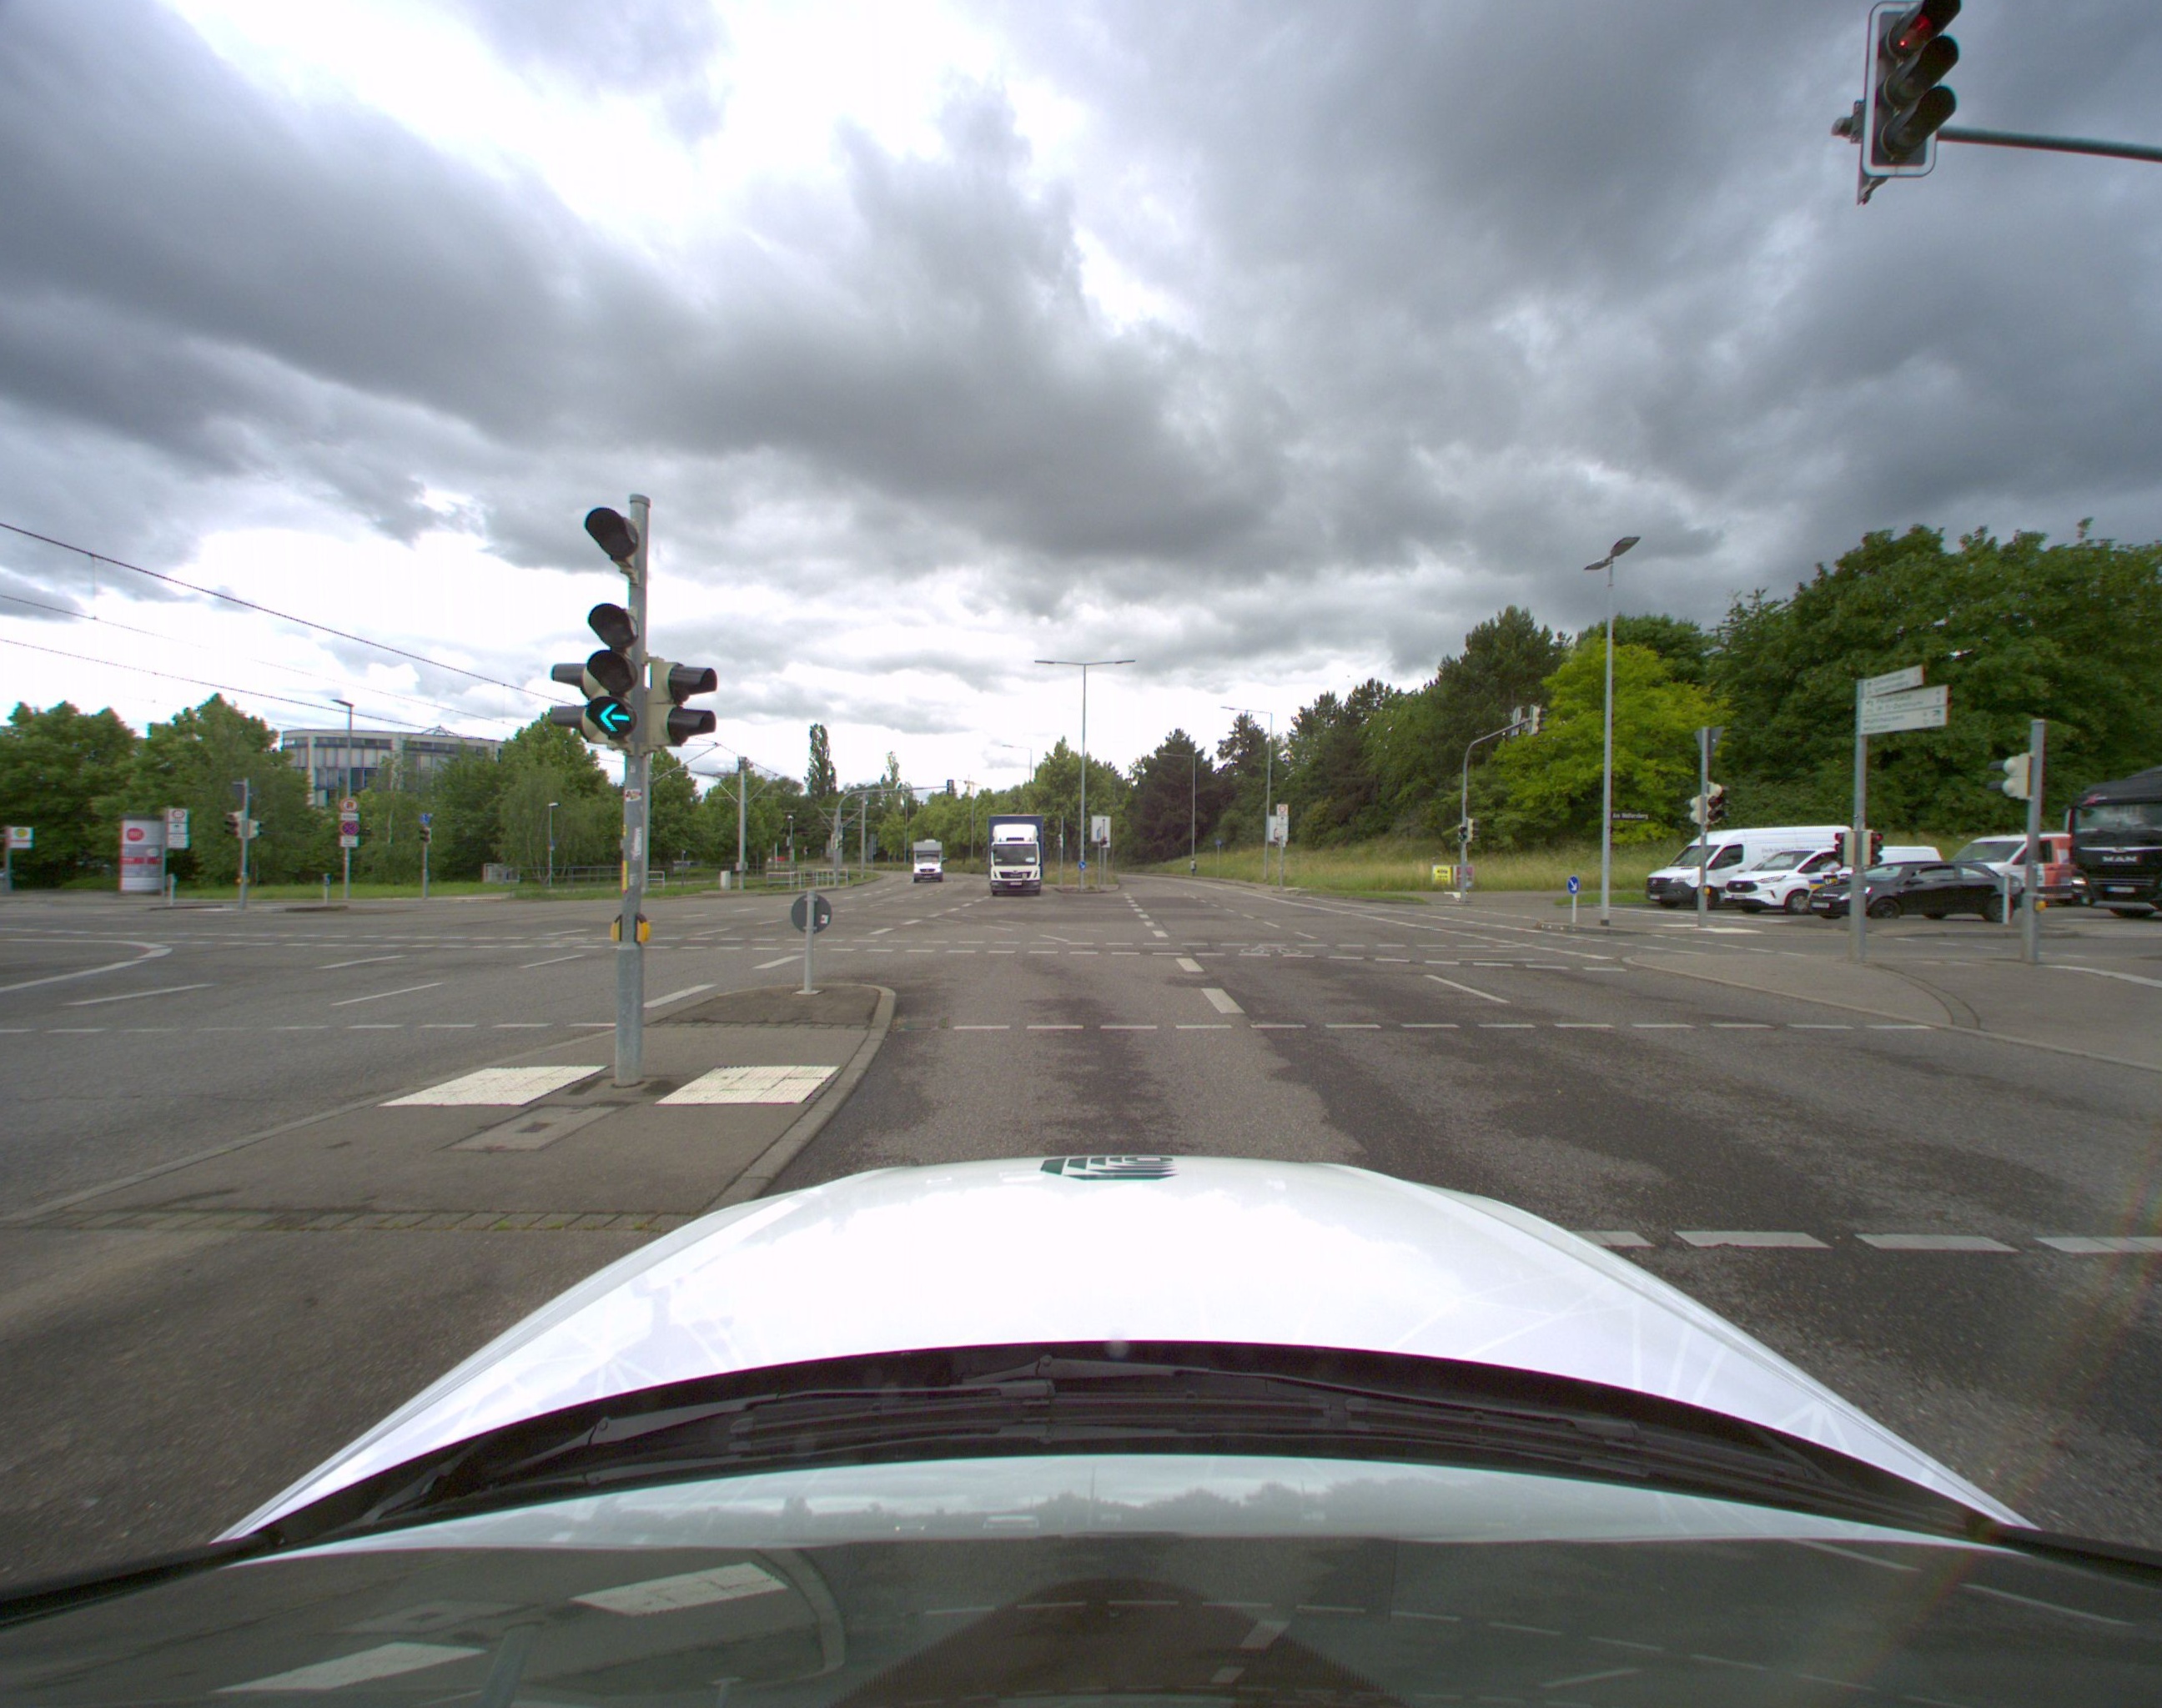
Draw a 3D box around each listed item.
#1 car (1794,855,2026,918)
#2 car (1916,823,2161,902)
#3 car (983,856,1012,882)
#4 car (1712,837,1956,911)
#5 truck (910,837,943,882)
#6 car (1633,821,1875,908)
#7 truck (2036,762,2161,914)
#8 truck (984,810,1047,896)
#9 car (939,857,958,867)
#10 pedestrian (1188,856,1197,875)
[{"bbox_3d":[20.113,0.776,19.889,3.836,1.442,1.638,-1,-1,4],"label":"car"},{"bbox_3d":[30.906,0.294,25.980,5.913,2.386,2.231,-1,-1,4],"label":"car"},{"bbox_3d":[-6.899,1.200,67.197,1.994,2.014,4.591,0,0,-11],"label":"car"},{"bbox_3d":[21.556,0.589,23.497,4.952,1.991,2.121,0,-2,2],"label":"car"},{"bbox_3d":[-11.270,0.400,59.871,2.105,3.010,6.252,-4,0,-10],"label":"truck"},{"bbox_3d":[21.875,0.359,26.712,5.915,2.659,2.230,-1,-2,3],"label":"car"},{"bbox_3d":[27.943,-0.376,19.651,5.915,3.518,3.077,-1,-2,3],"label":"truck"},{"bbox_3d":[-3.279,-0.014,40.373,2.774,3.804,8.373,0,0,-5],"label":"truck"},{"bbox_3d":[-22.918,1.384,140.672,2.006,1.728,3.691,0,0,-31],"label":"car"},{"bbox_3d":[9.979,1.055,73.124,0.736,1.717,0.625,0,-1,1],"label":"pedestrian"}]
